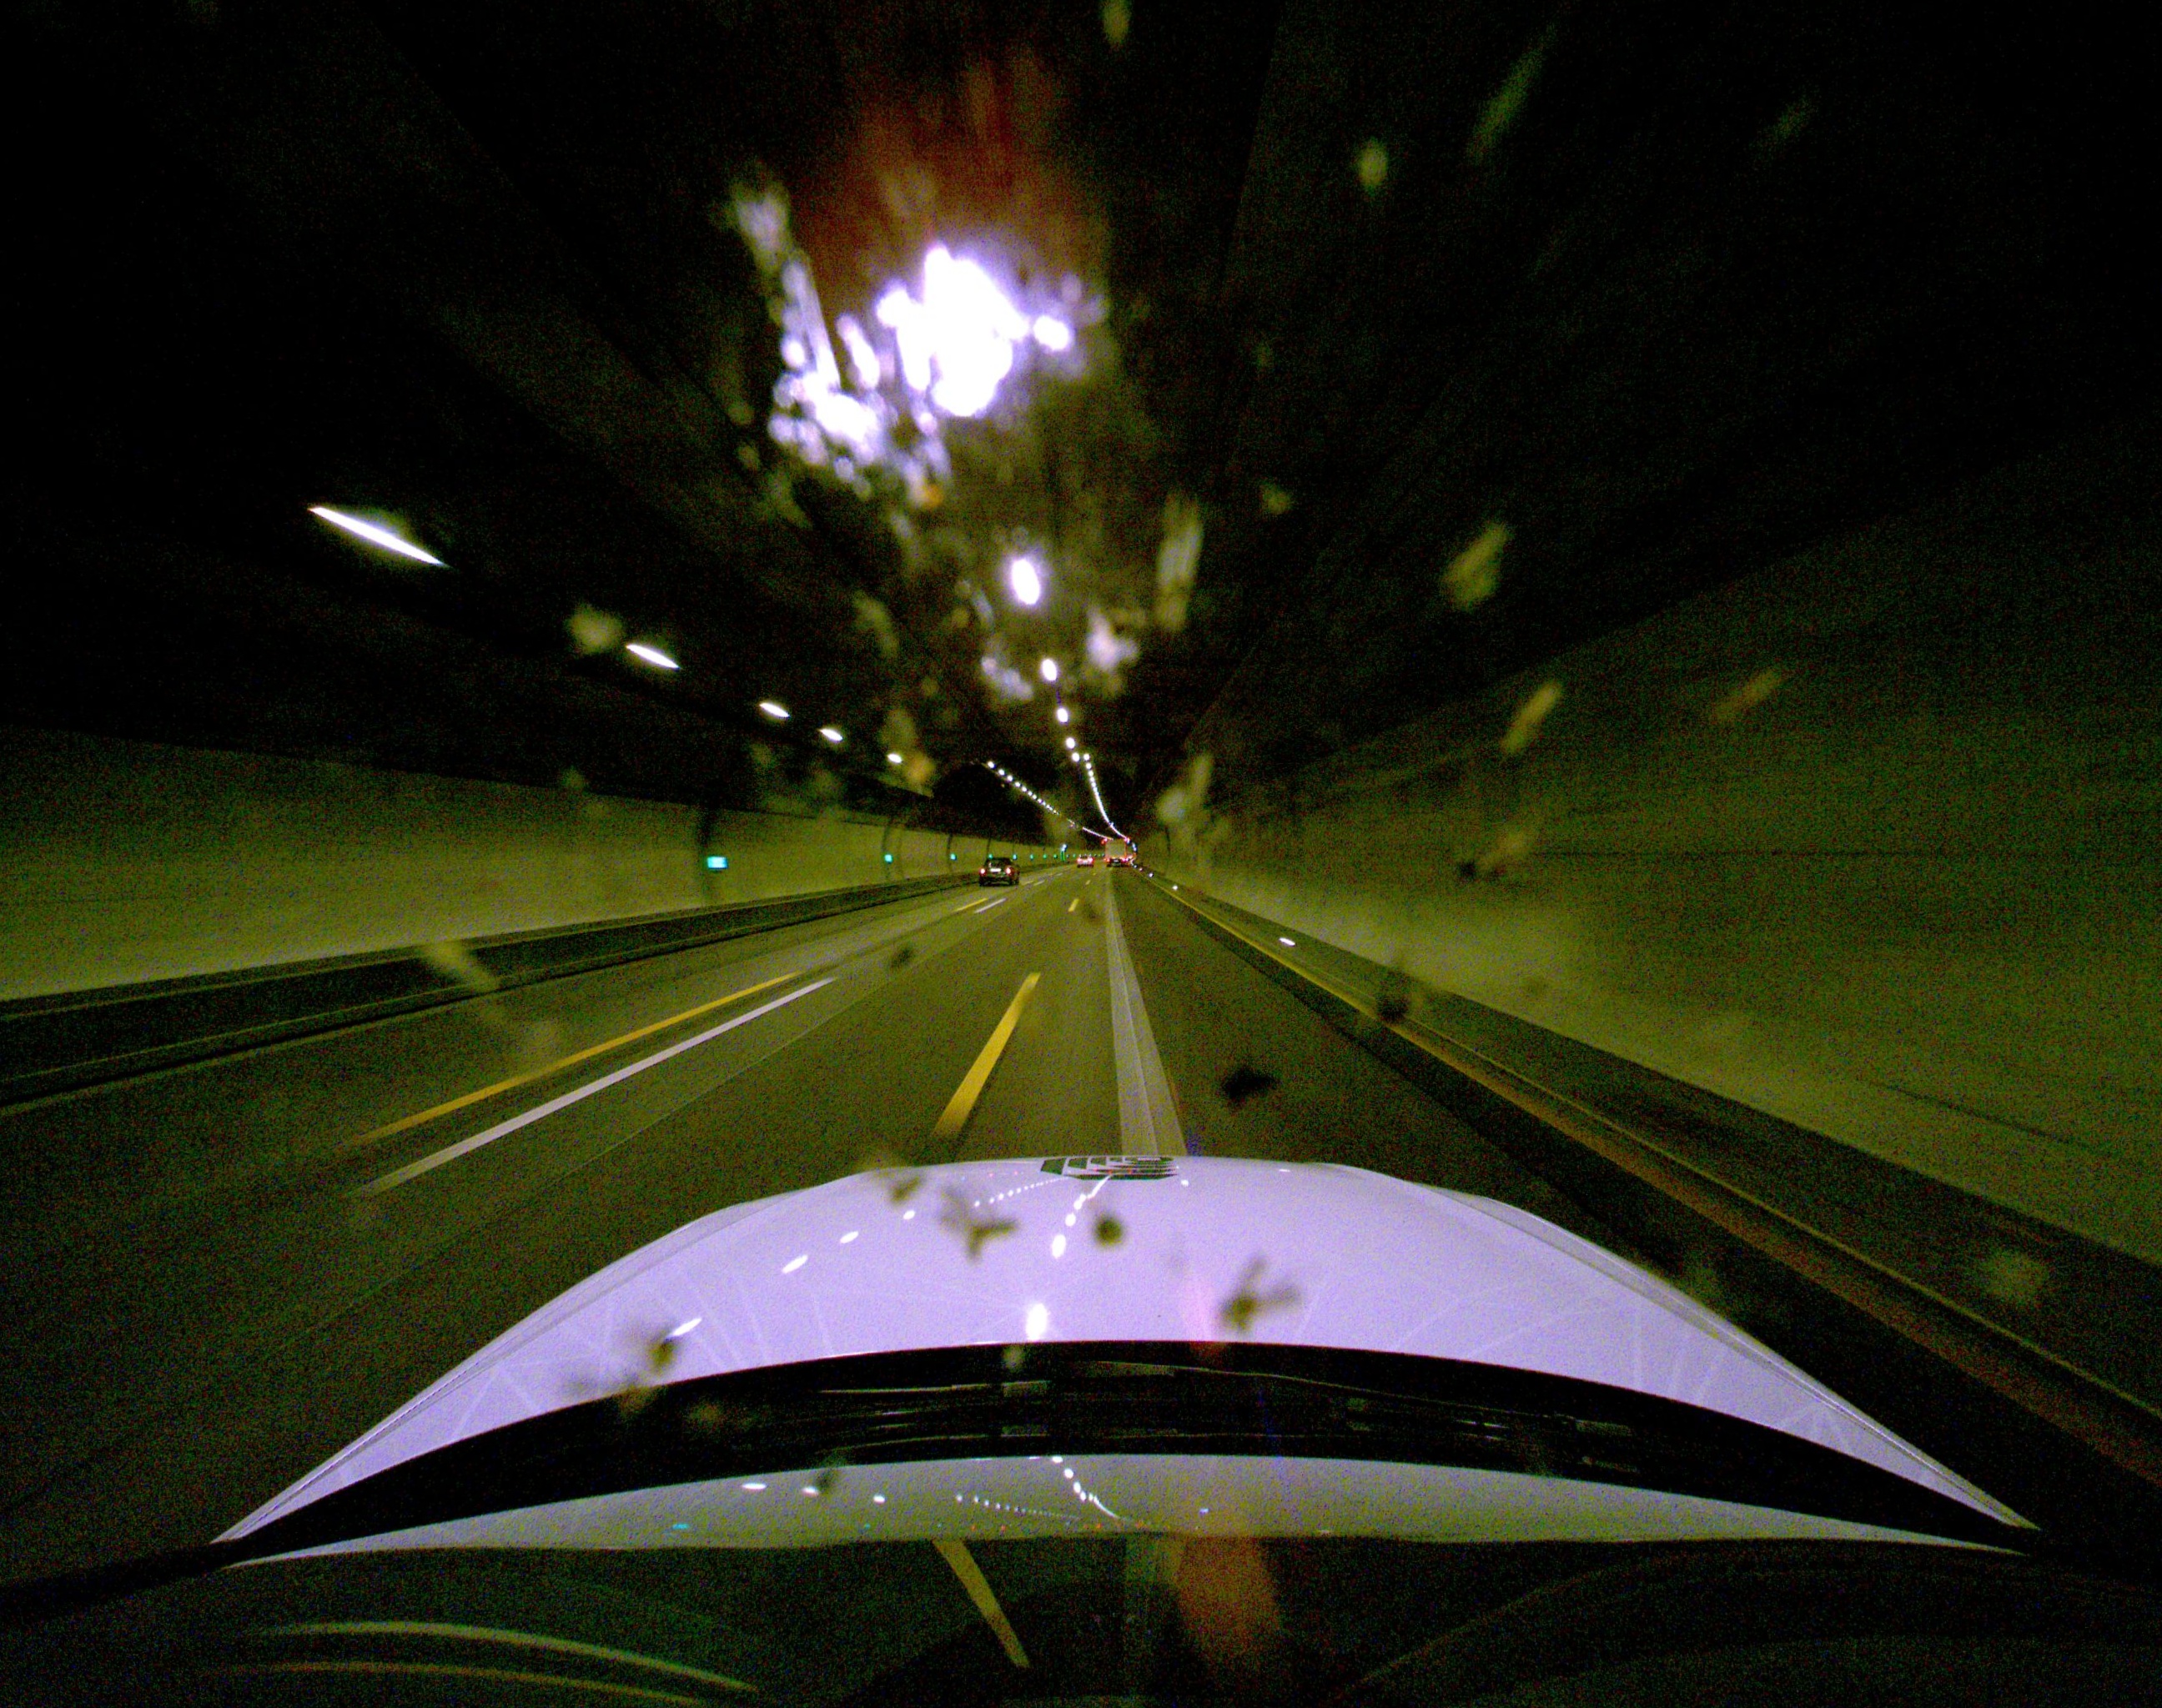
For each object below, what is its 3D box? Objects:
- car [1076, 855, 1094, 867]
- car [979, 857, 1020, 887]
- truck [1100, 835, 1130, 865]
[{"bbox_3d":[0.422,0.793,95.343,1.988,1.413,4.740,-1,0,-1],"label":"car"},{"bbox_3d":[-4.078,0.872,41.165,1.684,1.417,3.921,-1,0,-1],"label":"car"},{"bbox_3d":[4.406,-0.497,104.071,3.578,3.650,10.729,-1,0,3],"label":"truck"}]
